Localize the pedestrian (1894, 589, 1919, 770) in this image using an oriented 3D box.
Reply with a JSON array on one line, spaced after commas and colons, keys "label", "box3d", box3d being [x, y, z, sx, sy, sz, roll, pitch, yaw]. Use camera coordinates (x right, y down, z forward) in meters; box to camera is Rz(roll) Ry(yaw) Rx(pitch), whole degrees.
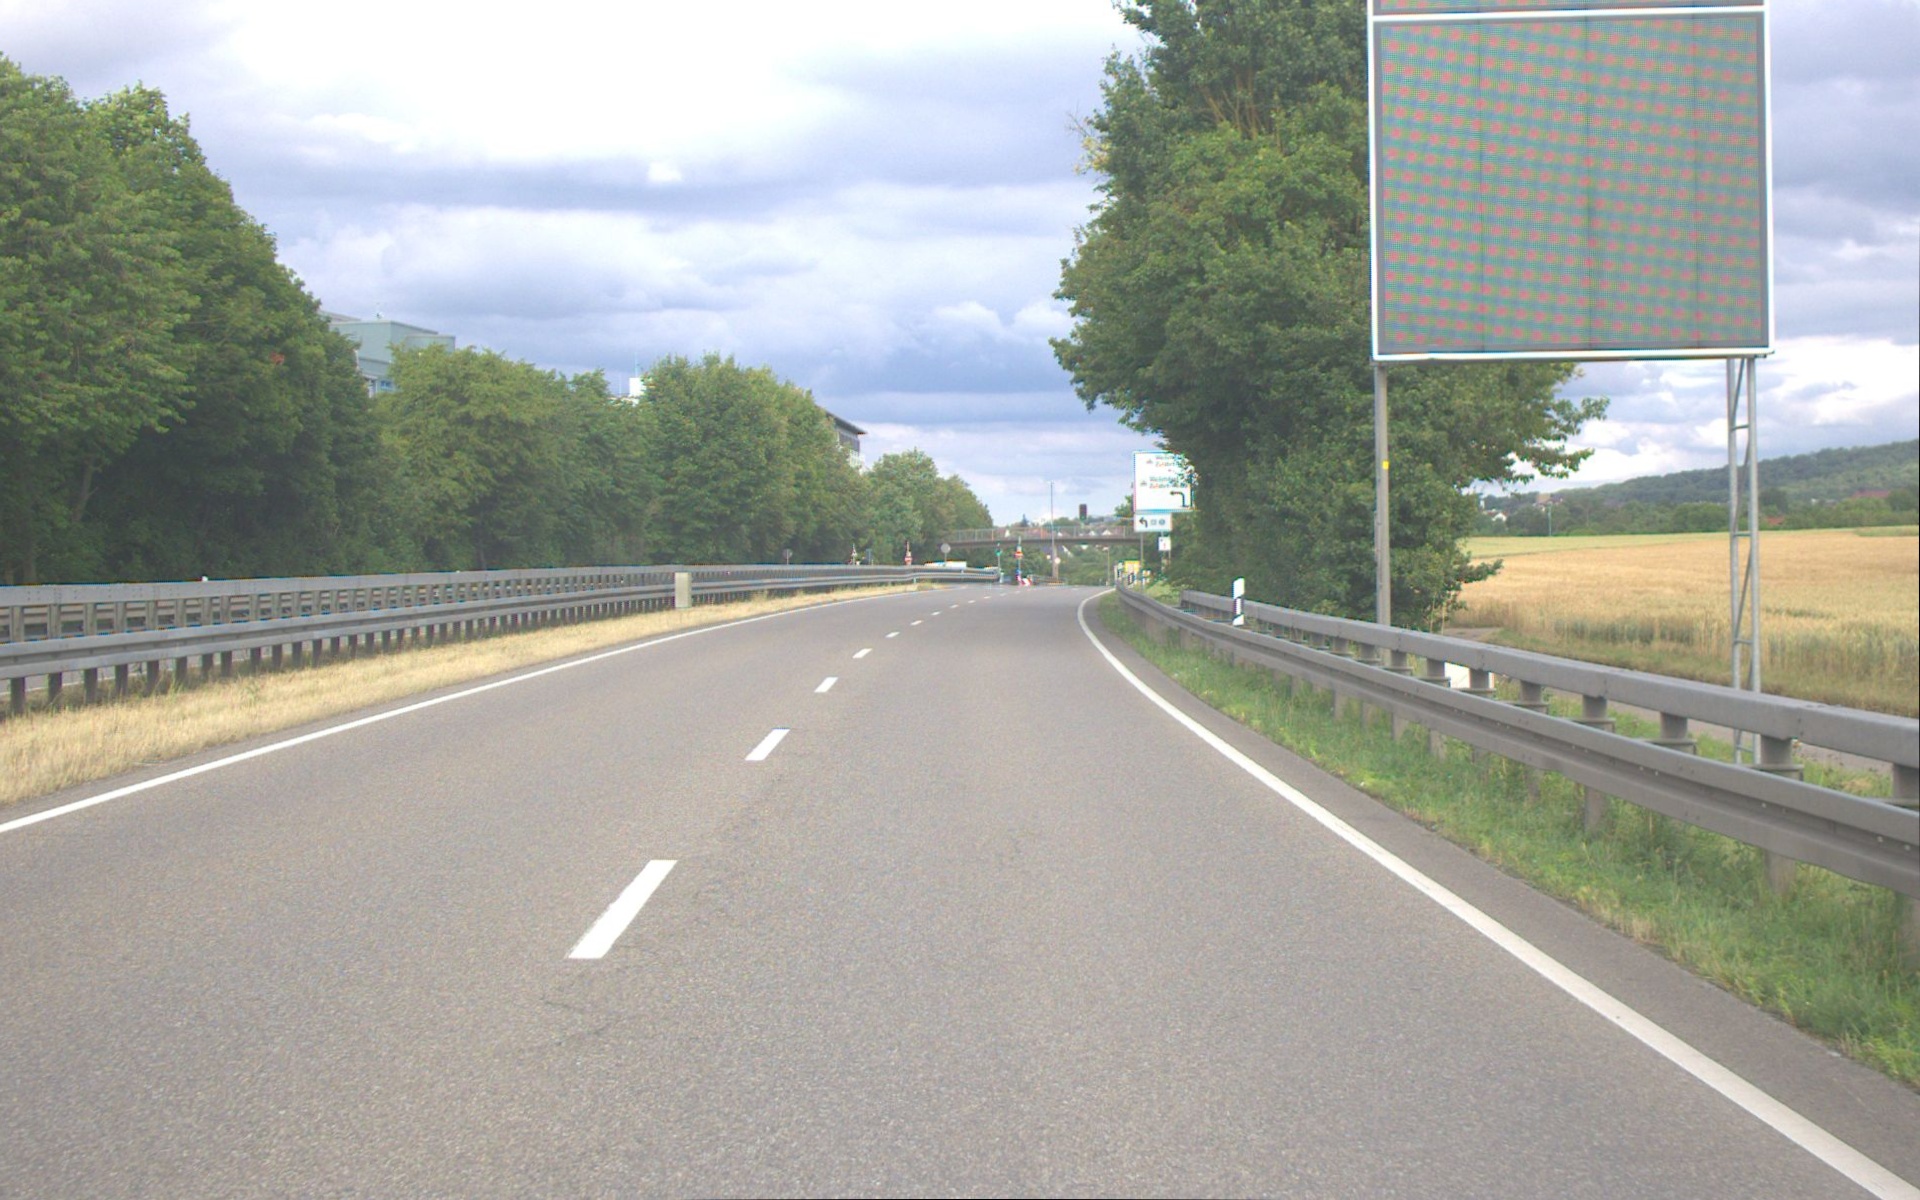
[{"label": "pedestrian", "box3d": [10.279, 0.825, 35.849, 0.771, 1.861, 0.940, 1, 0, -1]}]
